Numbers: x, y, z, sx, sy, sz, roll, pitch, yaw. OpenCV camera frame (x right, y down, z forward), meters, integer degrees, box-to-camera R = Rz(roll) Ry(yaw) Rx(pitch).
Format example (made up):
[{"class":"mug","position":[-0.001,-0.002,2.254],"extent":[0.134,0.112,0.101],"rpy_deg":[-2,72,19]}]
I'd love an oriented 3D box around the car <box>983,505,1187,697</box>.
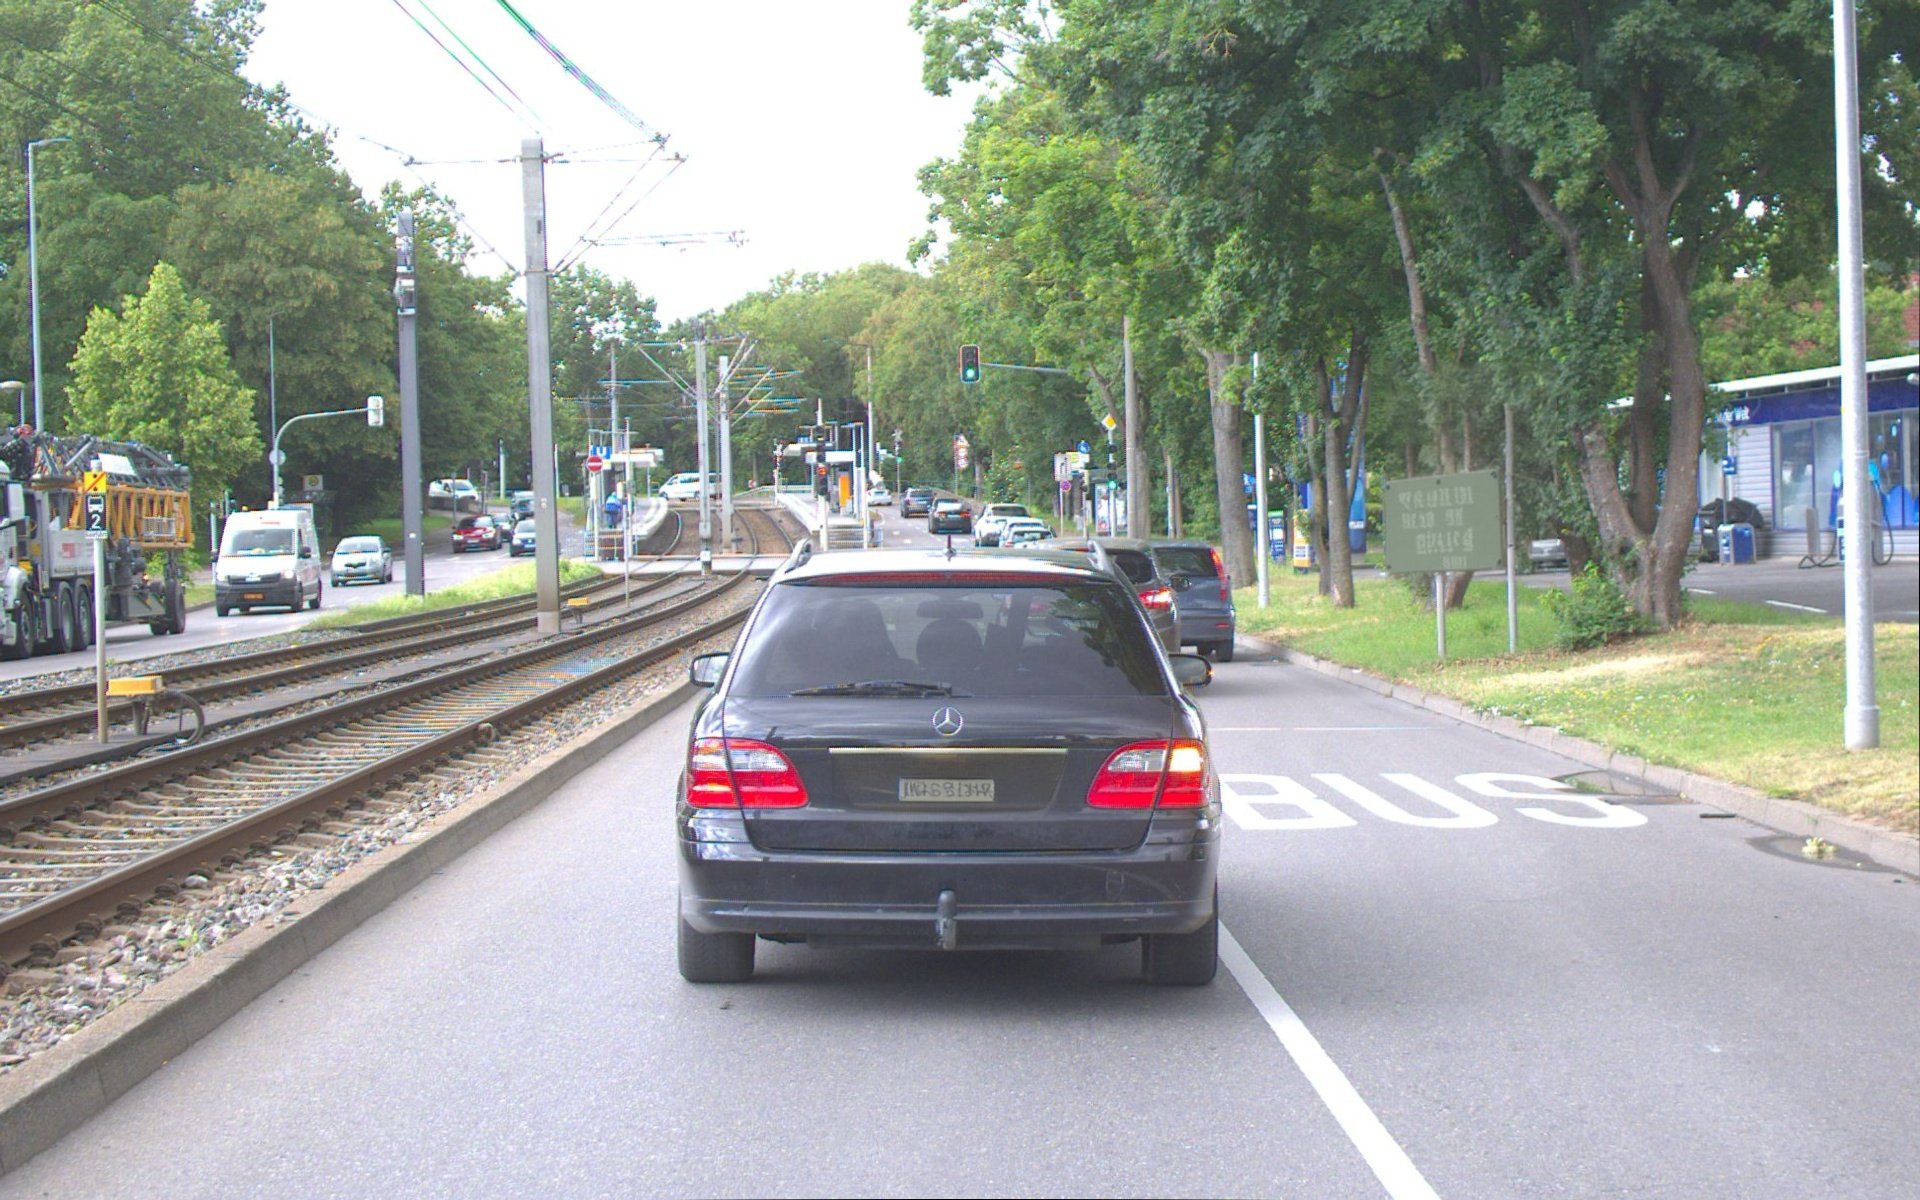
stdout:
[{"class":"car","position":[1.157,-0.016,33.426],"extent":[1.780,1.744,3.718],"rpy_deg":[1,1,-1]}]

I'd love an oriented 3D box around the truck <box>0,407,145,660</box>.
[{"class":"truck","position":[-15.427,-1.033,54.932],"extent":[2.706,3.651,11.114],"rpy_deg":[-2,1,-4]}]

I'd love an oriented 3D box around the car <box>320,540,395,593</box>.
[{"class":"car","position":[-19.112,-1.064,109.181],"extent":[1.765,1.641,3.771],"rpy_deg":[0,1,-1]}]

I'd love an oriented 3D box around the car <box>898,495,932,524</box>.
[{"class":"car","position":[-2.471,-4.977,188.802],"extent":[1.666,1.527,3.771],"rpy_deg":[0,1,-4]}]

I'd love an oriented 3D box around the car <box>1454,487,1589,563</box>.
[{"class":"car","position":[13.201,-1.780,80.643],"extent":[2.008,1.677,4.574],"rpy_deg":[-1,2,24]}]

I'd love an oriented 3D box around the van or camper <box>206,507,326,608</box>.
[{"class":"van or camper","position":[-17.088,-1.078,84.922],"extent":[1.993,2.346,5.767],"rpy_deg":[-2,1,-3]}]

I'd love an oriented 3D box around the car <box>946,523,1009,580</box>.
[{"class":"car","position":[0.554,-1.593,113.228],"extent":[1.993,1.831,4.000],"rpy_deg":[0,1,-1]}]

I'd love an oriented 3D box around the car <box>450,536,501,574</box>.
[{"class":"car","position":[-21.419,-2.015,152.081],"extent":[1.765,1.641,3.771],"rpy_deg":[0,1,-1]}]

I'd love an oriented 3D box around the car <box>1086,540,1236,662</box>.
[{"class":"car","position":[2.424,-0.012,42.072],"extent":[1.571,1.410,3.354],"rpy_deg":[1,1,-1]}]

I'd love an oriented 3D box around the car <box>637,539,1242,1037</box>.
[{"class":"car","position":[-0.082,0.529,12.229],"extent":[1.808,1.469,3.881],"rpy_deg":[0,1,-1]}]

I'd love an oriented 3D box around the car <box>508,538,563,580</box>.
[{"class":"car","position":[-17.167,-1.662,139.128],"extent":[1.765,1.641,3.771],"rpy_deg":[0,1,-1]}]

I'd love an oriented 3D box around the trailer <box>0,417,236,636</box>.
[{"class":"trailer","position":[-16.073,-1.378,64.970],"extent":[2.704,3.648,13.301],"rpy_deg":[-2,1,-4]}]

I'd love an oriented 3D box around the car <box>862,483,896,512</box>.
[{"class":"car","position":[-4.990,-6.341,212.245],"extent":[1.993,1.708,4.000],"rpy_deg":[-1,1,-1]}]
